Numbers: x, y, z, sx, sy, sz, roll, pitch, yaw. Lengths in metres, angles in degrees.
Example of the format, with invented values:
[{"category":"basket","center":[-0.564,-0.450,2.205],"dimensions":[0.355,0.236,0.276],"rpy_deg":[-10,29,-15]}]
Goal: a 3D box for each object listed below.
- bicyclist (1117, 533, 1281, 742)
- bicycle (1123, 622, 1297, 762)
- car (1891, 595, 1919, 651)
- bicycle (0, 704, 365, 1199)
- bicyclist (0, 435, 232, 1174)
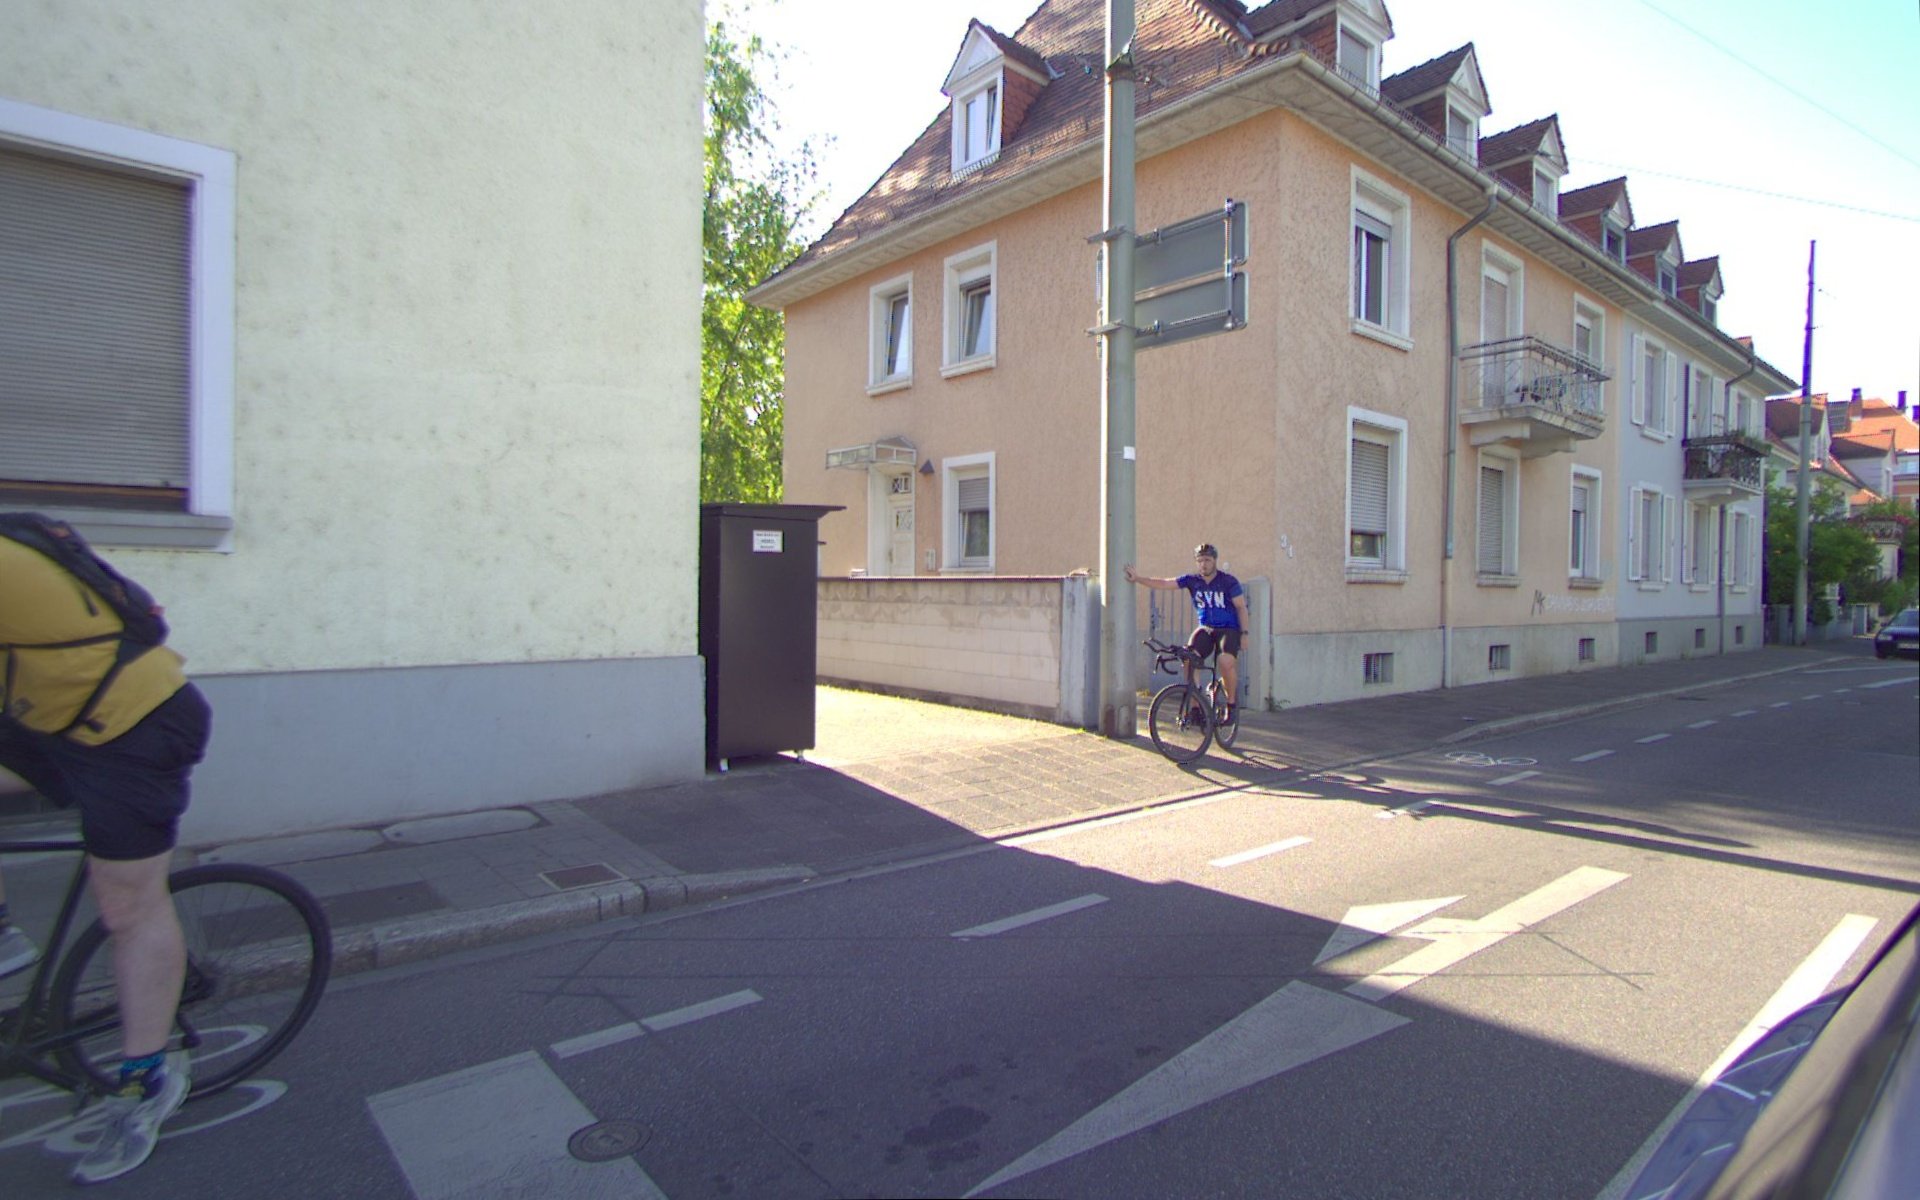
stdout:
[{"category":"bicyclist","center":[2.207,0.300,9.407],"dimensions":[0.838,1.758,1.072],"rpy_deg":[0,6,-40]},{"category":"bicycle","center":[2.295,0.784,9.179],"dimensions":[1.689,1.064,0.595],"rpy_deg":[0,6,-41]},{"category":"car","center":[26.644,0.599,27.330],"dimensions":[3.932,1.438,1.845],"rpy_deg":[0,1,-42]},{"category":"bicycle","center":[-2.561,0.904,2.527],"dimensions":[1.778,1.101,0.611],"rpy_deg":[0,1,-41]},{"category":"bicyclist","center":[-2.470,0.478,2.585],"dimensions":[0.939,1.743,0.582],"rpy_deg":[0,1,-41]}]
